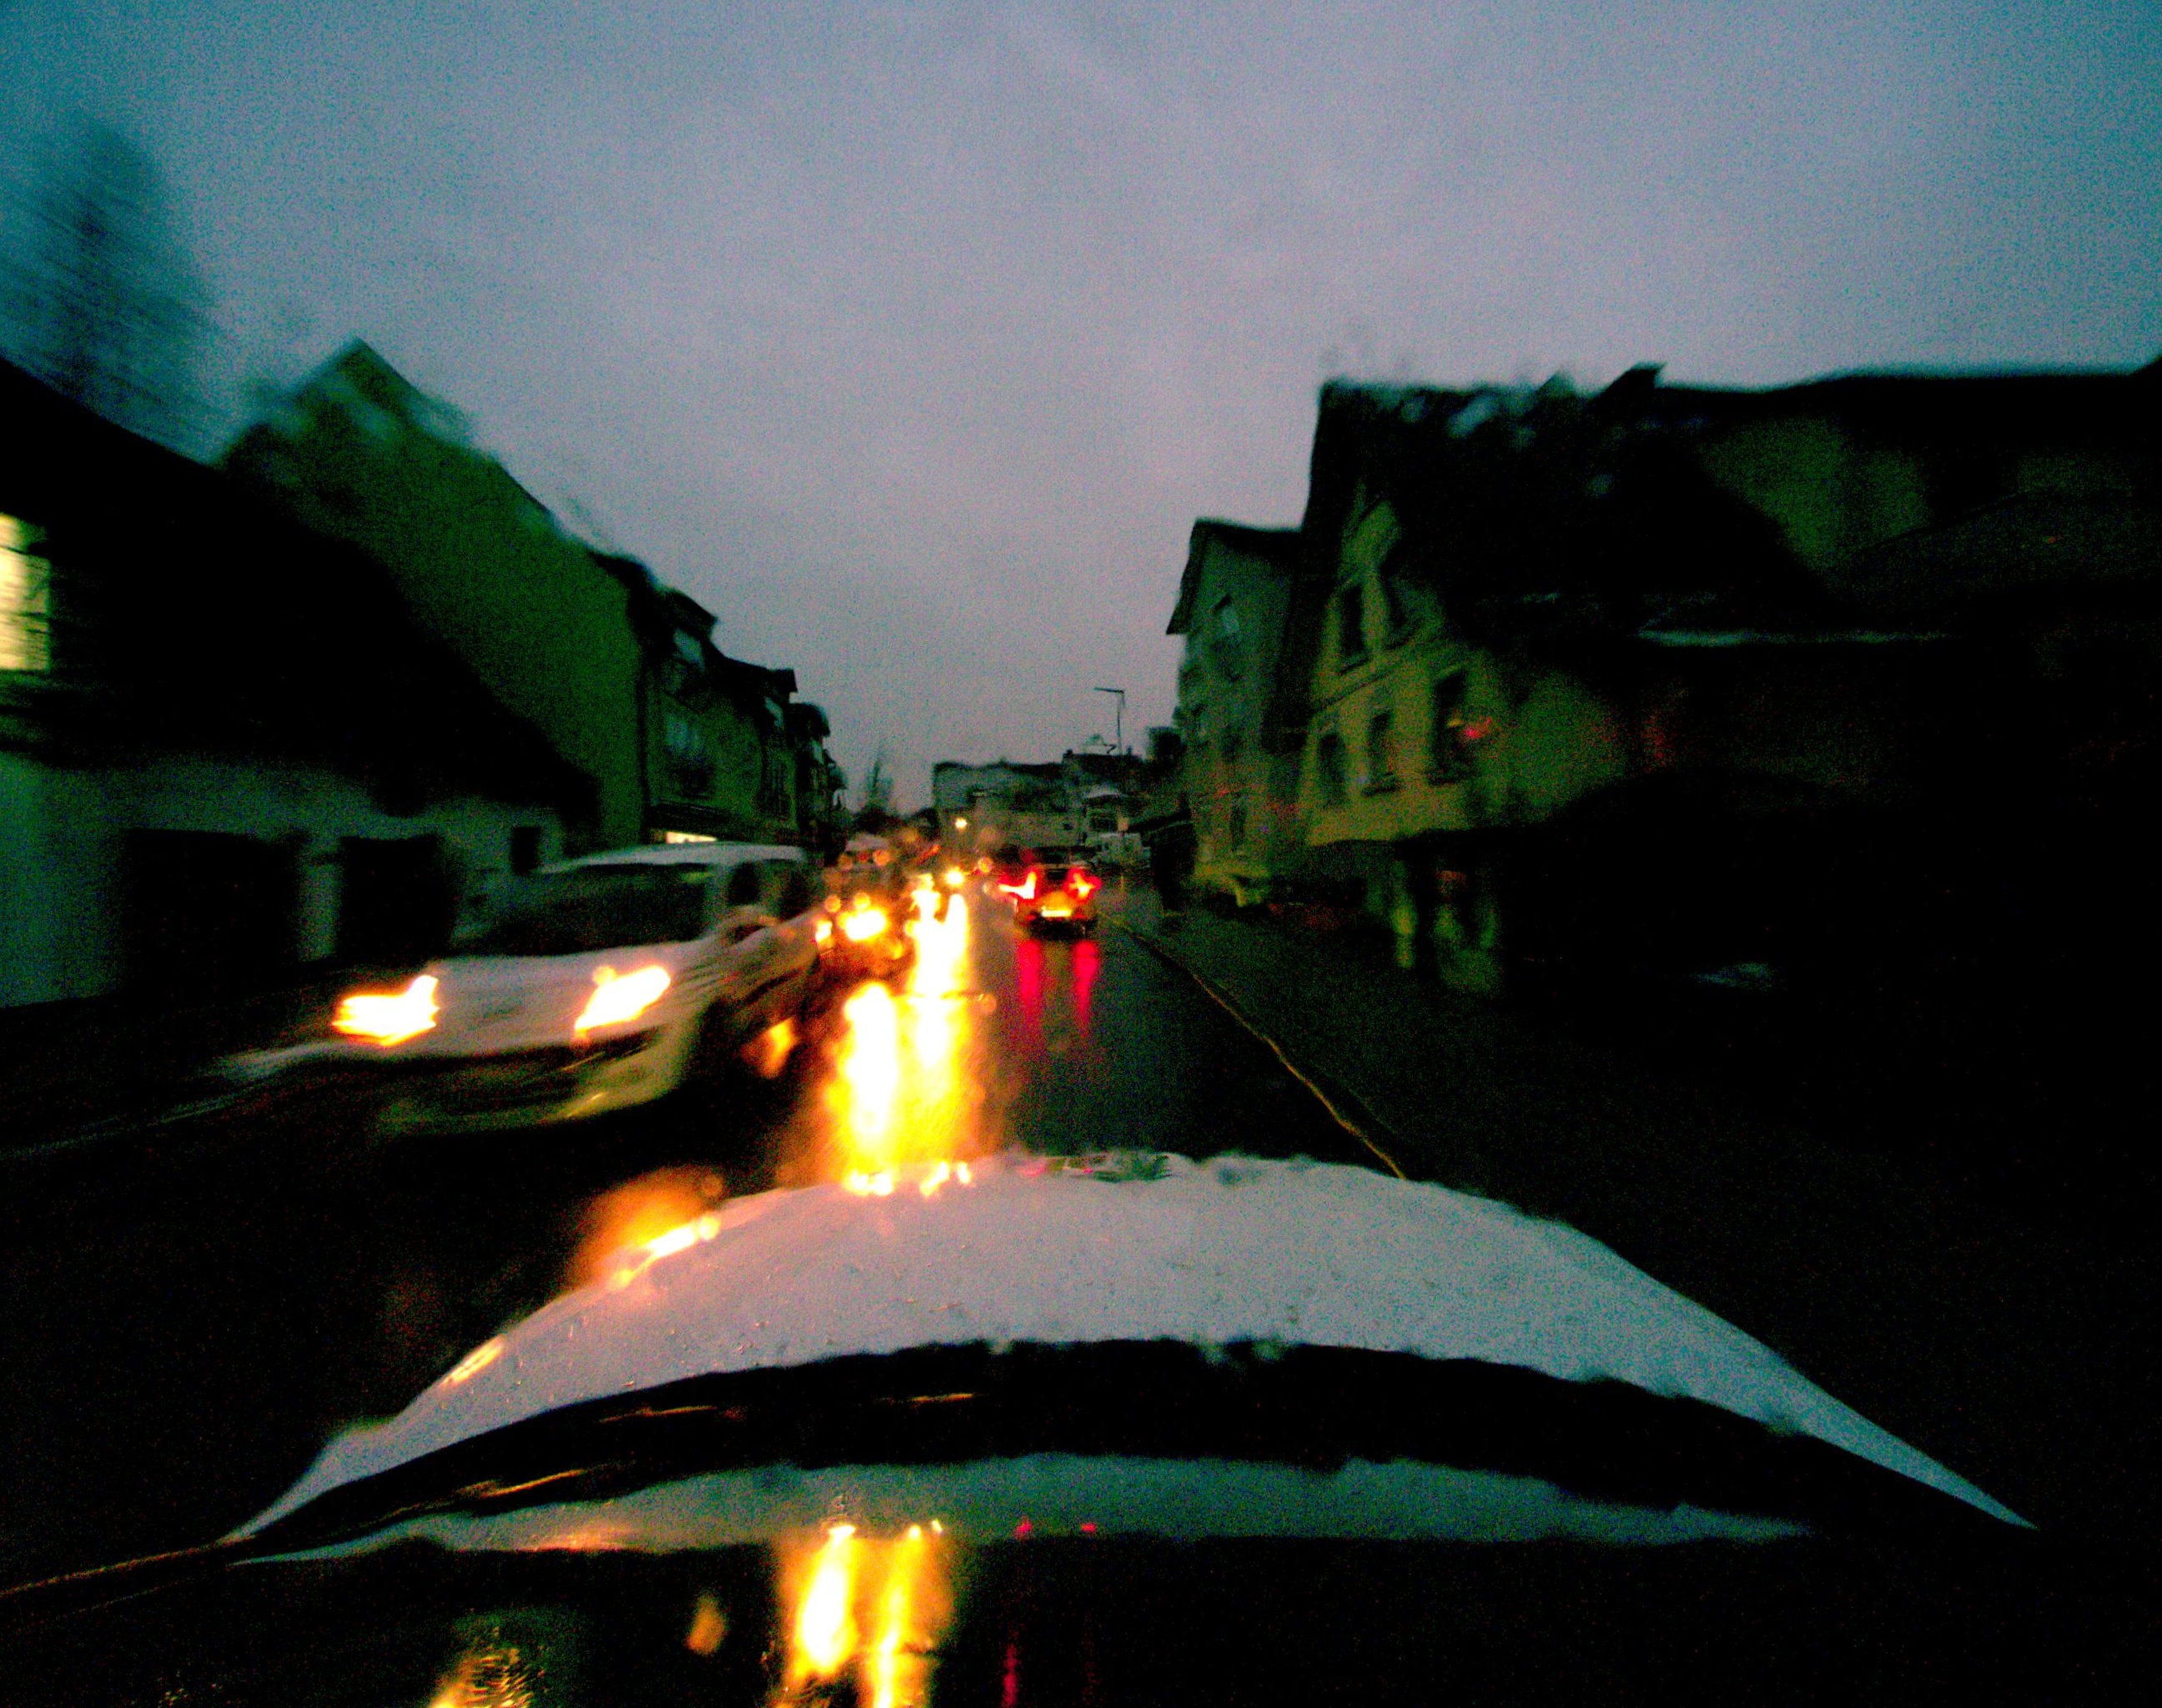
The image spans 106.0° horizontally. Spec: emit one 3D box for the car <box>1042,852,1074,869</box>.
[{"bbox_3d":[-2.220,0.601,78.603,1.828,1.462,4.521,-4,1,-18],"label":"car"}]

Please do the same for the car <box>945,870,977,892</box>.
[{"bbox_3d":[-9.313,2.037,62.973,1.997,1.588,3.979,0,-1,-15],"label":"car"}]

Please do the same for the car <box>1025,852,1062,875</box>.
[{"bbox_3d":[-3.116,0.769,66.464,1.998,1.765,4.327,-4,0,-15],"label":"car"}]

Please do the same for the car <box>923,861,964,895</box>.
[{"bbox_3d":[-7.167,1.234,42.295,1.918,1.564,4.210,-3,-1,-11],"label":"car"}]

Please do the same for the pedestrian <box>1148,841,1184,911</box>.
[{"bbox_3d":[2.153,0.550,20.771,0.743,1.729,0.872,-2,0,-2],"label":"pedestrian"}]

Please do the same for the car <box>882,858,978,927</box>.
[{"bbox_3d":[-3.910,0.937,21.728,1.990,1.555,4.251,-2,0,-4],"label":"car"}]

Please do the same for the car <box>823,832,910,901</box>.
[{"bbox_3d":[-8.801,0.534,34.106,2.482,2.560,6.747,0,-1,-6],"label":"car"}]

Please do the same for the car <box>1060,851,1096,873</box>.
[{"bbox_3d":[-0.260,0.655,66.808,1.996,1.610,4.155,-4,-1,-13],"label":"car"}]

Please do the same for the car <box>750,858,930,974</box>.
[{"bbox_3d":[-3.783,0.881,13.593,1.853,1.556,4.253,-2,0,-3],"label":"car"}]

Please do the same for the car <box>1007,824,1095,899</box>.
[{"bbox_3d":[-0.745,0.171,18.927,1.811,1.533,3.995,-1,-1,-4],"label":"car"}]

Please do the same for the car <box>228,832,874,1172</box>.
[{"bbox_3d":[-3.213,0.692,6.298,1.945,1.546,4.417,-3,2,1],"label":"car"}]

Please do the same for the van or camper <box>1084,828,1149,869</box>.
[{"bbox_3d":[2.825,-0.397,67.575,2.662,3.047,6.685,-5,1,-21],"label":"van or camper"}]

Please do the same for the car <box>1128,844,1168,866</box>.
[{"bbox_3d":[5.517,0.079,67.329,1.793,1.553,3.977,-8,1,-17],"label":"car"}]

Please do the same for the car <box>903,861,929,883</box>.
[{"bbox_3d":[-16.624,1.802,81.916,2.001,2.202,3.971,0,-1,-21],"label":"car"}]

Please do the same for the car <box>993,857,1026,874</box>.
[{"bbox_3d":[-6.639,1.095,75.283,1.897,1.462,3.602,-2,0,-26],"label":"car"}]
